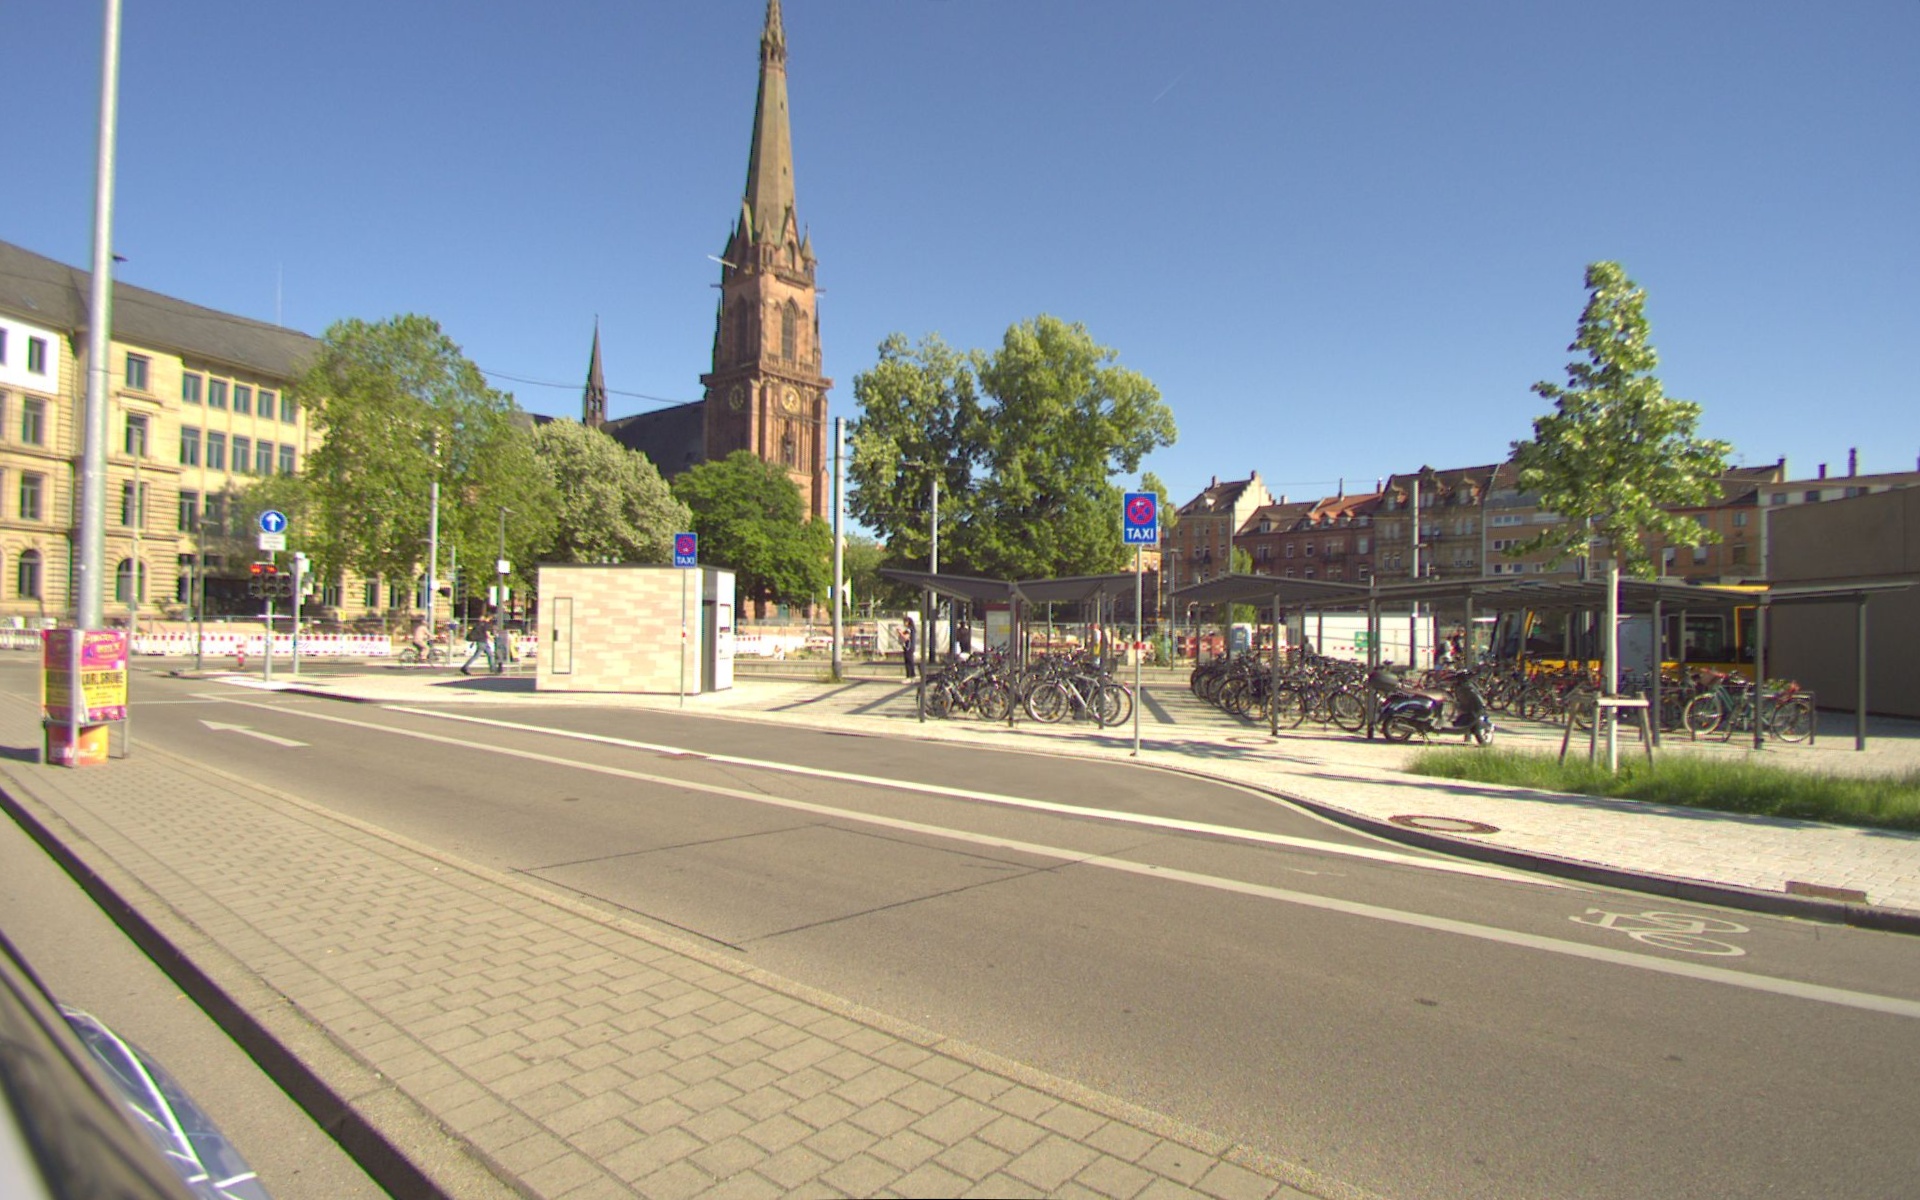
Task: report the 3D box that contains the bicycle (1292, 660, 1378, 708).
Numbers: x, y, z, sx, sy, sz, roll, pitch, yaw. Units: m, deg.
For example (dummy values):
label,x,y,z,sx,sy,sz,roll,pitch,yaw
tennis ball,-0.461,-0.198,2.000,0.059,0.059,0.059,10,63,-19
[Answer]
label,x,y,z,sx,sy,sz,roll,pitch,yaw
bicycle,7.995,1.791,21.622,1.661,0.980,0.406,-1,0,3

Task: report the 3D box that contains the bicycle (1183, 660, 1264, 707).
label,x,y,z,sx,sy,sz,roll,pitch,yaw
bicycle,5.792,1.839,22.295,1.661,0.980,0.406,1,-5,3

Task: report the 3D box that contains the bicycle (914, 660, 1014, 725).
label,x,y,z,sx,sy,sz,roll,pitch,yaw
bicycle,0.073,1.575,17.382,1.663,1.006,0.406,2,0,8

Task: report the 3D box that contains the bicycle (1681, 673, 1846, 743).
label,x,y,z,sx,sy,sz,roll,pitch,yaw
bicycle,12.773,1.716,16.137,2.048,1.045,0.533,-1,0,8

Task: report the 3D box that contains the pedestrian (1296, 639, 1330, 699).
label,x,y,z,sx,sy,sz,roll,pitch,yaw
pedestrian,11.683,2.270,33.528,0.757,1.931,0.805,1,-2,-11

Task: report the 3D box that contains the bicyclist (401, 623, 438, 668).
label,x,y,z,sx,sy,sz,roll,pitch,yaw
bicyclist,-19.351,1.631,36.232,0.738,1.583,0.876,-1,-2,31

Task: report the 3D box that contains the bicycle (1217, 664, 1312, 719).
label,x,y,z,sx,sy,sz,roll,pitch,yaw
bicycle,5.820,1.738,19.374,1.661,0.980,0.406,1,0,3

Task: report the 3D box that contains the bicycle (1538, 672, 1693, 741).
label,x,y,z,sx,sy,sz,roll,pitch,yaw
bicycle,10.579,1.712,16.388,2.048,1.045,0.533,-1,0,8

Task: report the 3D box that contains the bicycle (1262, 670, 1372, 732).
label,x,y,z,sx,sy,sz,roll,pitch,yaw
bicycle,5.940,1.686,16.889,1.661,0.980,0.406,-1,0,3

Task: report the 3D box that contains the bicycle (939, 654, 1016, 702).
label,x,y,z,sx,sy,sz,roll,pitch,yaw
bicycle,0.391,1.706,22.283,1.663,1.006,0.406,0,0,8

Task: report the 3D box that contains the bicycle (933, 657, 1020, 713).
label,x,y,z,sx,sy,sz,roll,pitch,yaw
bicycle,0.334,1.665,19.944,1.663,1.006,0.406,2,0,8

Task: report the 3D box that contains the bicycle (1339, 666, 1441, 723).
label,x,y,z,sx,sy,sz,roll,pitch,yaw
bicycle,7.829,1.724,18.459,1.661,0.980,0.406,-1,0,3

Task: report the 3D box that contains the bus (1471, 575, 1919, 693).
label,x,y,z,sx,sy,sz,roll,pitch,yaw
bus,22.135,0.935,28.626,13.462,3.095,2.859,0,-2,6

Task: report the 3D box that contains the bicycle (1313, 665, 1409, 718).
label,x,y,z,sx,sy,sz,roll,pitch,yaw
bicycle,7.722,1.764,19.528,1.661,0.980,0.406,-1,0,3

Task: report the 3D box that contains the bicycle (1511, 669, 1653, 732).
label,x,y,z,sx,sy,sz,roll,pitch,yaw
bicycle,10.824,1.741,17.661,2.048,1.045,0.533,-1,0,8

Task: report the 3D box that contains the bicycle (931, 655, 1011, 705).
label,x,y,z,sx,sy,sz,roll,pitch,yaw
bicycle,0.236,1.677,21.403,1.663,1.006,0.406,0,0,8

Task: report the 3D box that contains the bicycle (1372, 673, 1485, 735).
label,x,y,z,sx,sy,sz,roll,pitch,yaw
bicycle,7.774,1.725,16.820,1.661,0.980,0.406,-1,0,3

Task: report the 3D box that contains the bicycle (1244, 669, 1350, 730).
label,x,y,z,sx,sy,sz,roll,pitch,yaw
bicycle,5.800,1.711,17.462,1.661,0.980,0.406,1,0,3

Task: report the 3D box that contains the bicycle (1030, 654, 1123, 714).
label,x,y,z,sx,sy,sz,roll,pitch,yaw
bicycle,2.241,1.622,19.581,1.755,1.083,0.406,1,0,6

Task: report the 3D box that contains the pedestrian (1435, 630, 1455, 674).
label,x,y,z,sx,sy,sz,roll,pitch,yaw
pedestrian,21.325,2.286,44.540,0.637,1.885,0.529,0,-2,5

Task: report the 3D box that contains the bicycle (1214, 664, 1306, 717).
label,x,y,z,sx,sy,sz,roll,pitch,yaw
bicycle,5.908,1.782,19.957,1.661,0.980,0.406,1,0,3

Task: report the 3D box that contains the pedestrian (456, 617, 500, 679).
label,x,y,z,sx,sy,sz,roll,pitch,yaw
pedestrian,-13.865,1.361,29.102,0.987,1.756,0.631,2,-2,-42

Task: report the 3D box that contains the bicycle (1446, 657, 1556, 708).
label,x,y,z,sx,sy,sz,roll,pitch,yaw
bicycle,11.872,1.802,22.255,2.048,1.045,0.533,-1,2,8

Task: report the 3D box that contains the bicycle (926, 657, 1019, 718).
label,x,y,z,sx,sy,sz,roll,pitch,yaw
bicycle,0.237,1.598,18.600,1.663,1.006,0.406,2,0,8

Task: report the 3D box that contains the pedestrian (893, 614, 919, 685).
label,x,y,z,sx,sy,sz,roll,pitch,yaw
pedestrian,-1.447,1.314,27.042,0.692,1.874,0.621,0,-2,-3

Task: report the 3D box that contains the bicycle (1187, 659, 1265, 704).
label,x,y,z,sx,sy,sz,roll,pitch,yaw
bicycle,6.059,1.861,23.050,1.661,0.980,0.406,1,-5,3

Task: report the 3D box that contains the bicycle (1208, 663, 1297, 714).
label,x,y,z,sx,sy,sz,roll,pitch,yaw
bicycle,5.931,1.786,20.563,1.661,0.980,0.406,1,-5,3

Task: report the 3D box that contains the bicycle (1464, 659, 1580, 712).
label,x,y,z,sx,sy,sz,roll,pitch,yaw
bicycle,11.782,1.796,21.264,2.048,1.045,0.533,-1,2,8

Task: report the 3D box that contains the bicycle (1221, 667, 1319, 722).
label,x,y,z,sx,sy,sz,roll,pitch,yaw
bicycle,5.735,1.751,18.767,1.661,0.980,0.406,-1,0,3

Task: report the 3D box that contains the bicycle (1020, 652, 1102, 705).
label,x,y,z,sx,sy,sz,roll,pitch,yaw
bicycle,2.199,1.696,22.027,1.755,1.083,0.406,1,0,6

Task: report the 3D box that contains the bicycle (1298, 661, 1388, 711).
label,x,y,z,sx,sy,sz,roll,pitch,yaw
bicycle,7.867,1.762,20.825,1.661,0.980,0.406,-1,0,3

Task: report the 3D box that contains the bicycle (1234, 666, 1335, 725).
label,x,y,z,sx,sy,sz,roll,pitch,yaw
bicycle,5.822,1.711,18.187,1.661,0.980,0.406,1,0,3

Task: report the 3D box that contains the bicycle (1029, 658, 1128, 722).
label,x,y,z,sx,sy,sz,roll,pitch,yaw
bicycle,2.146,1.618,18.336,1.753,1.083,0.406,1,0,6

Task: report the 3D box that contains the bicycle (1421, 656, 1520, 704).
label,x,y,z,sx,sy,sz,roll,pitch,yaw
bicycle,12.306,1.920,24.428,2.048,1.045,0.533,1,3,8

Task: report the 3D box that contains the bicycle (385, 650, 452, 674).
label,x,y,z,sx,sy,sz,roll,pitch,yaw
bicycle,-19.358,2.222,36.220,0.739,0.788,2.030,-1,-2,32

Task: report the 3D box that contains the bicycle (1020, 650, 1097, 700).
label,x,y,z,sx,sy,sz,roll,pitch,yaw
bicycle,2.279,1.733,23.497,1.755,1.083,0.406,1,0,6

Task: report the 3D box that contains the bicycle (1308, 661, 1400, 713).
label,x,y,z,sx,sy,sz,roll,pitch,yaw
bicycle,7.864,1.731,20.228,1.661,0.980,0.406,-1,0,3

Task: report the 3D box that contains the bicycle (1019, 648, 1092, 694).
label,x,y,z,sx,sy,sz,roll,pitch,yaw
bicycle,2.320,1.725,24.677,1.755,1.083,0.406,1,0,6

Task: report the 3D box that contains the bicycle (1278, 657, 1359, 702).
label,x,y,z,sx,sy,sz,roll,pitch,yaw
bicycle,8.079,1.789,22.837,1.661,0.980,0.406,-1,0,3

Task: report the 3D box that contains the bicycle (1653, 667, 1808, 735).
label,x,y,z,sx,sy,sz,roll,pitch,yaw
bicycle,12.995,1.697,17.115,2.030,1.087,0.604,-1,0,7

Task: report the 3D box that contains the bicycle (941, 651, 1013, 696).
label,x,y,z,sx,sy,sz,roll,pitch,yaw
bicycle,0.399,1.703,23.661,1.663,1.006,0.406,0,0,8

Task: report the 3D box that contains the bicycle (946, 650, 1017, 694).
label,x,y,z,sx,sy,sz,roll,pitch,yaw
bicycle,0.524,1.703,24.186,1.663,1.006,0.406,0,0,8

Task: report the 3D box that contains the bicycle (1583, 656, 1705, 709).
label,x,y,z,sx,sy,sz,roll,pitch,yaw
bicycle,14.084,1.697,20.876,2.048,1.045,0.533,-1,0,8

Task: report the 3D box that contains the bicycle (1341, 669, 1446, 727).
label,x,y,z,sx,sy,sz,roll,pitch,yaw
bicycle,7.649,1.726,17.891,1.661,0.980,0.406,-1,0,3

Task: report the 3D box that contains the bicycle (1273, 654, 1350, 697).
label,x,y,z,sx,sy,sz,roll,pitch,yaw
bicycle,8.297,1.786,23.914,1.661,0.980,0.406,-1,0,3

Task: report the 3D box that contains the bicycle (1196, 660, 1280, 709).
label,x,y,z,sx,sy,sz,roll,pitch,yaw
bicycle,5.932,1.807,21.639,1.661,0.980,0.406,1,-5,3

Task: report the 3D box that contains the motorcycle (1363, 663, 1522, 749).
label,x,y,z,sx,sy,sz,roll,pitch,yaw
motorcycle,7.200,1.571,15.159,2.059,1.228,0.569,-1,-2,3

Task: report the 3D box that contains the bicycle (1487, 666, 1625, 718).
label,x,y,z,sx,sy,sz,roll,pitch,yaw
bicycle,11.620,1.799,19.789,2.208,0.951,0.685,-1,0,7

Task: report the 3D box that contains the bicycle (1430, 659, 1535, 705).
label,x,y,z,sx,sy,sz,roll,pitch,yaw
bicycle,12.037,1.880,23.373,2.048,1.045,0.533,-1,-4,8

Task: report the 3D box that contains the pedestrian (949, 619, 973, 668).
label,x,y,z,sx,sy,sz,roll,pitch,yaw
pedestrian,0.034,1.680,39.136,0.610,1.874,0.703,2,-2,-39

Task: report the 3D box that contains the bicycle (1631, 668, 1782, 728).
label,x,y,z,sx,sy,sz,roll,pitch,yaw
bicycle,13.485,1.764,18.329,2.117,1.005,0.690,-1,0,7

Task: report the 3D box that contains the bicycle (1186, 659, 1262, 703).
label,x,y,z,sx,sy,sz,roll,pitch,yaw
bicycle,6.143,1.883,23.623,1.661,0.980,0.406,1,-5,3

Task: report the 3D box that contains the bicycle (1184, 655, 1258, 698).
label,x,y,z,sx,sy,sz,roll,pitch,yaw
bicycle,6.262,1.838,24.311,1.661,0.980,0.406,1,-5,3

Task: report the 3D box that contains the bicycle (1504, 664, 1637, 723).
label,x,y,z,sx,sy,sz,roll,pitch,yaw
bicycle,11.328,1.734,18.811,2.048,1.045,0.533,-1,0,8

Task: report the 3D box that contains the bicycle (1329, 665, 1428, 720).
label,x,y,z,sx,sy,sz,roll,pitch,yaw
bicycle,7.848,1.732,19.012,1.661,0.980,0.406,-1,0,3

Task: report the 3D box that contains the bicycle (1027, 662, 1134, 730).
label,x,y,z,sx,sy,sz,roll,pitch,yaw
bicycle,2.028,1.607,17.091,1.753,1.083,0.406,1,-3,6

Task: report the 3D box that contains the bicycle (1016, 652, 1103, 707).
label,x,y,z,sx,sy,sz,roll,pitch,yaw
bicycle,2.059,1.644,20.972,1.755,1.083,0.406,1,0,6

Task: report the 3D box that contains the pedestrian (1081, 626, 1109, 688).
label,x,y,z,sx,sy,sz,roll,pitch,yaw
pedestrian,3.622,1.524,27.140,0.693,1.635,0.620,0,-2,3
